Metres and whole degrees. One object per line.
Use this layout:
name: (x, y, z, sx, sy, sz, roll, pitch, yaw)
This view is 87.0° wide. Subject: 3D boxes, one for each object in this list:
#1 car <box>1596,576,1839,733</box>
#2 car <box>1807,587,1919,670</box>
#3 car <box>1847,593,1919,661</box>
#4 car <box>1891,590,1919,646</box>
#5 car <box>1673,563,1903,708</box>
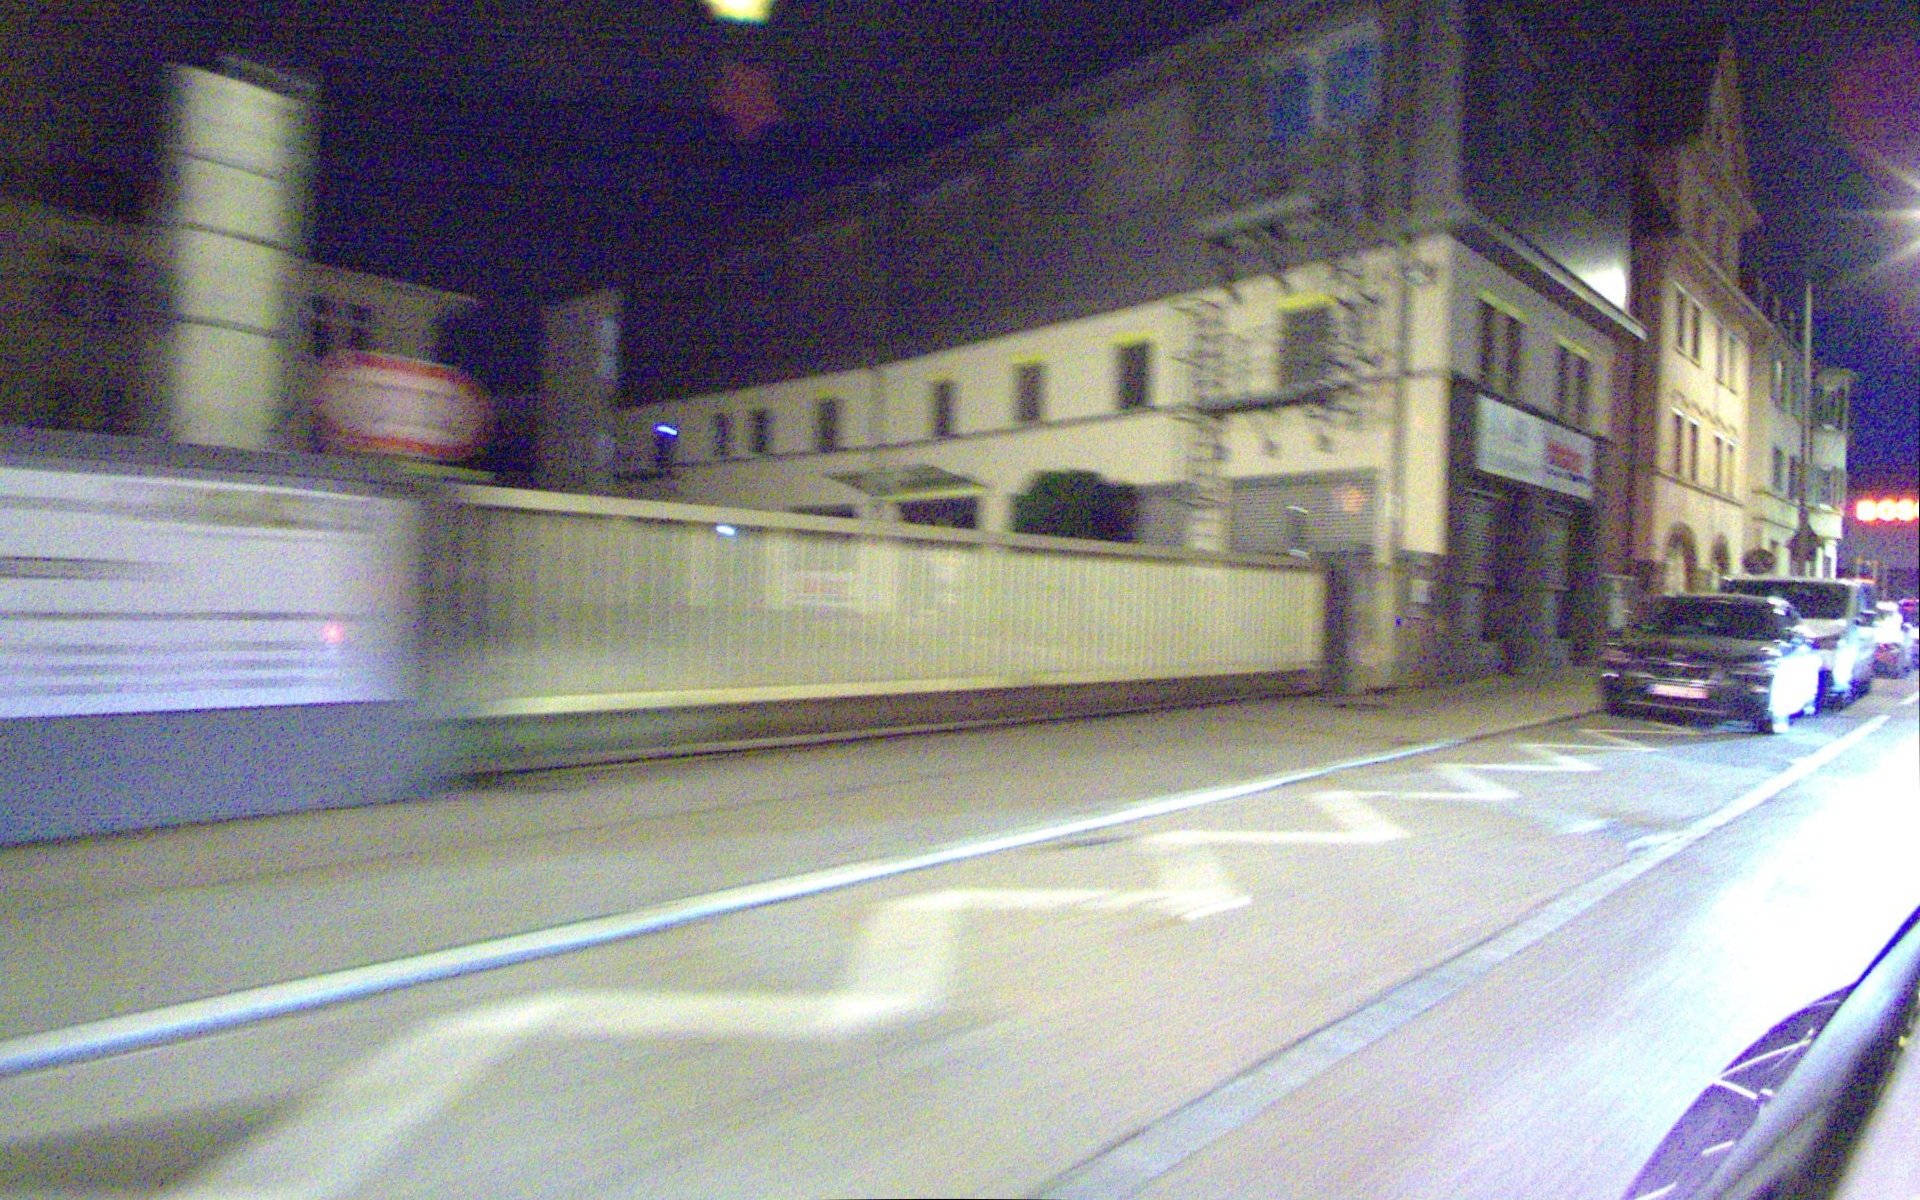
car: (9.903, 0.562, 13.109, 4.151, 1.618, 1.822, -1, 4, -44)
car: (20.256, 0.546, 22.391, 4.139, 1.585, 1.747, -1, 3, -43)
car: (24.079, 0.632, 25.730, 4.752, 1.527, 1.747, -1, 3, -43)
car: (31.719, 0.588, 32.901, 4.186, 1.703, 1.747, -1, 3, -43)
car: (13.577, 0.433, 16.458, 5.279, 1.952, 2.076, -1, 3, -42)
